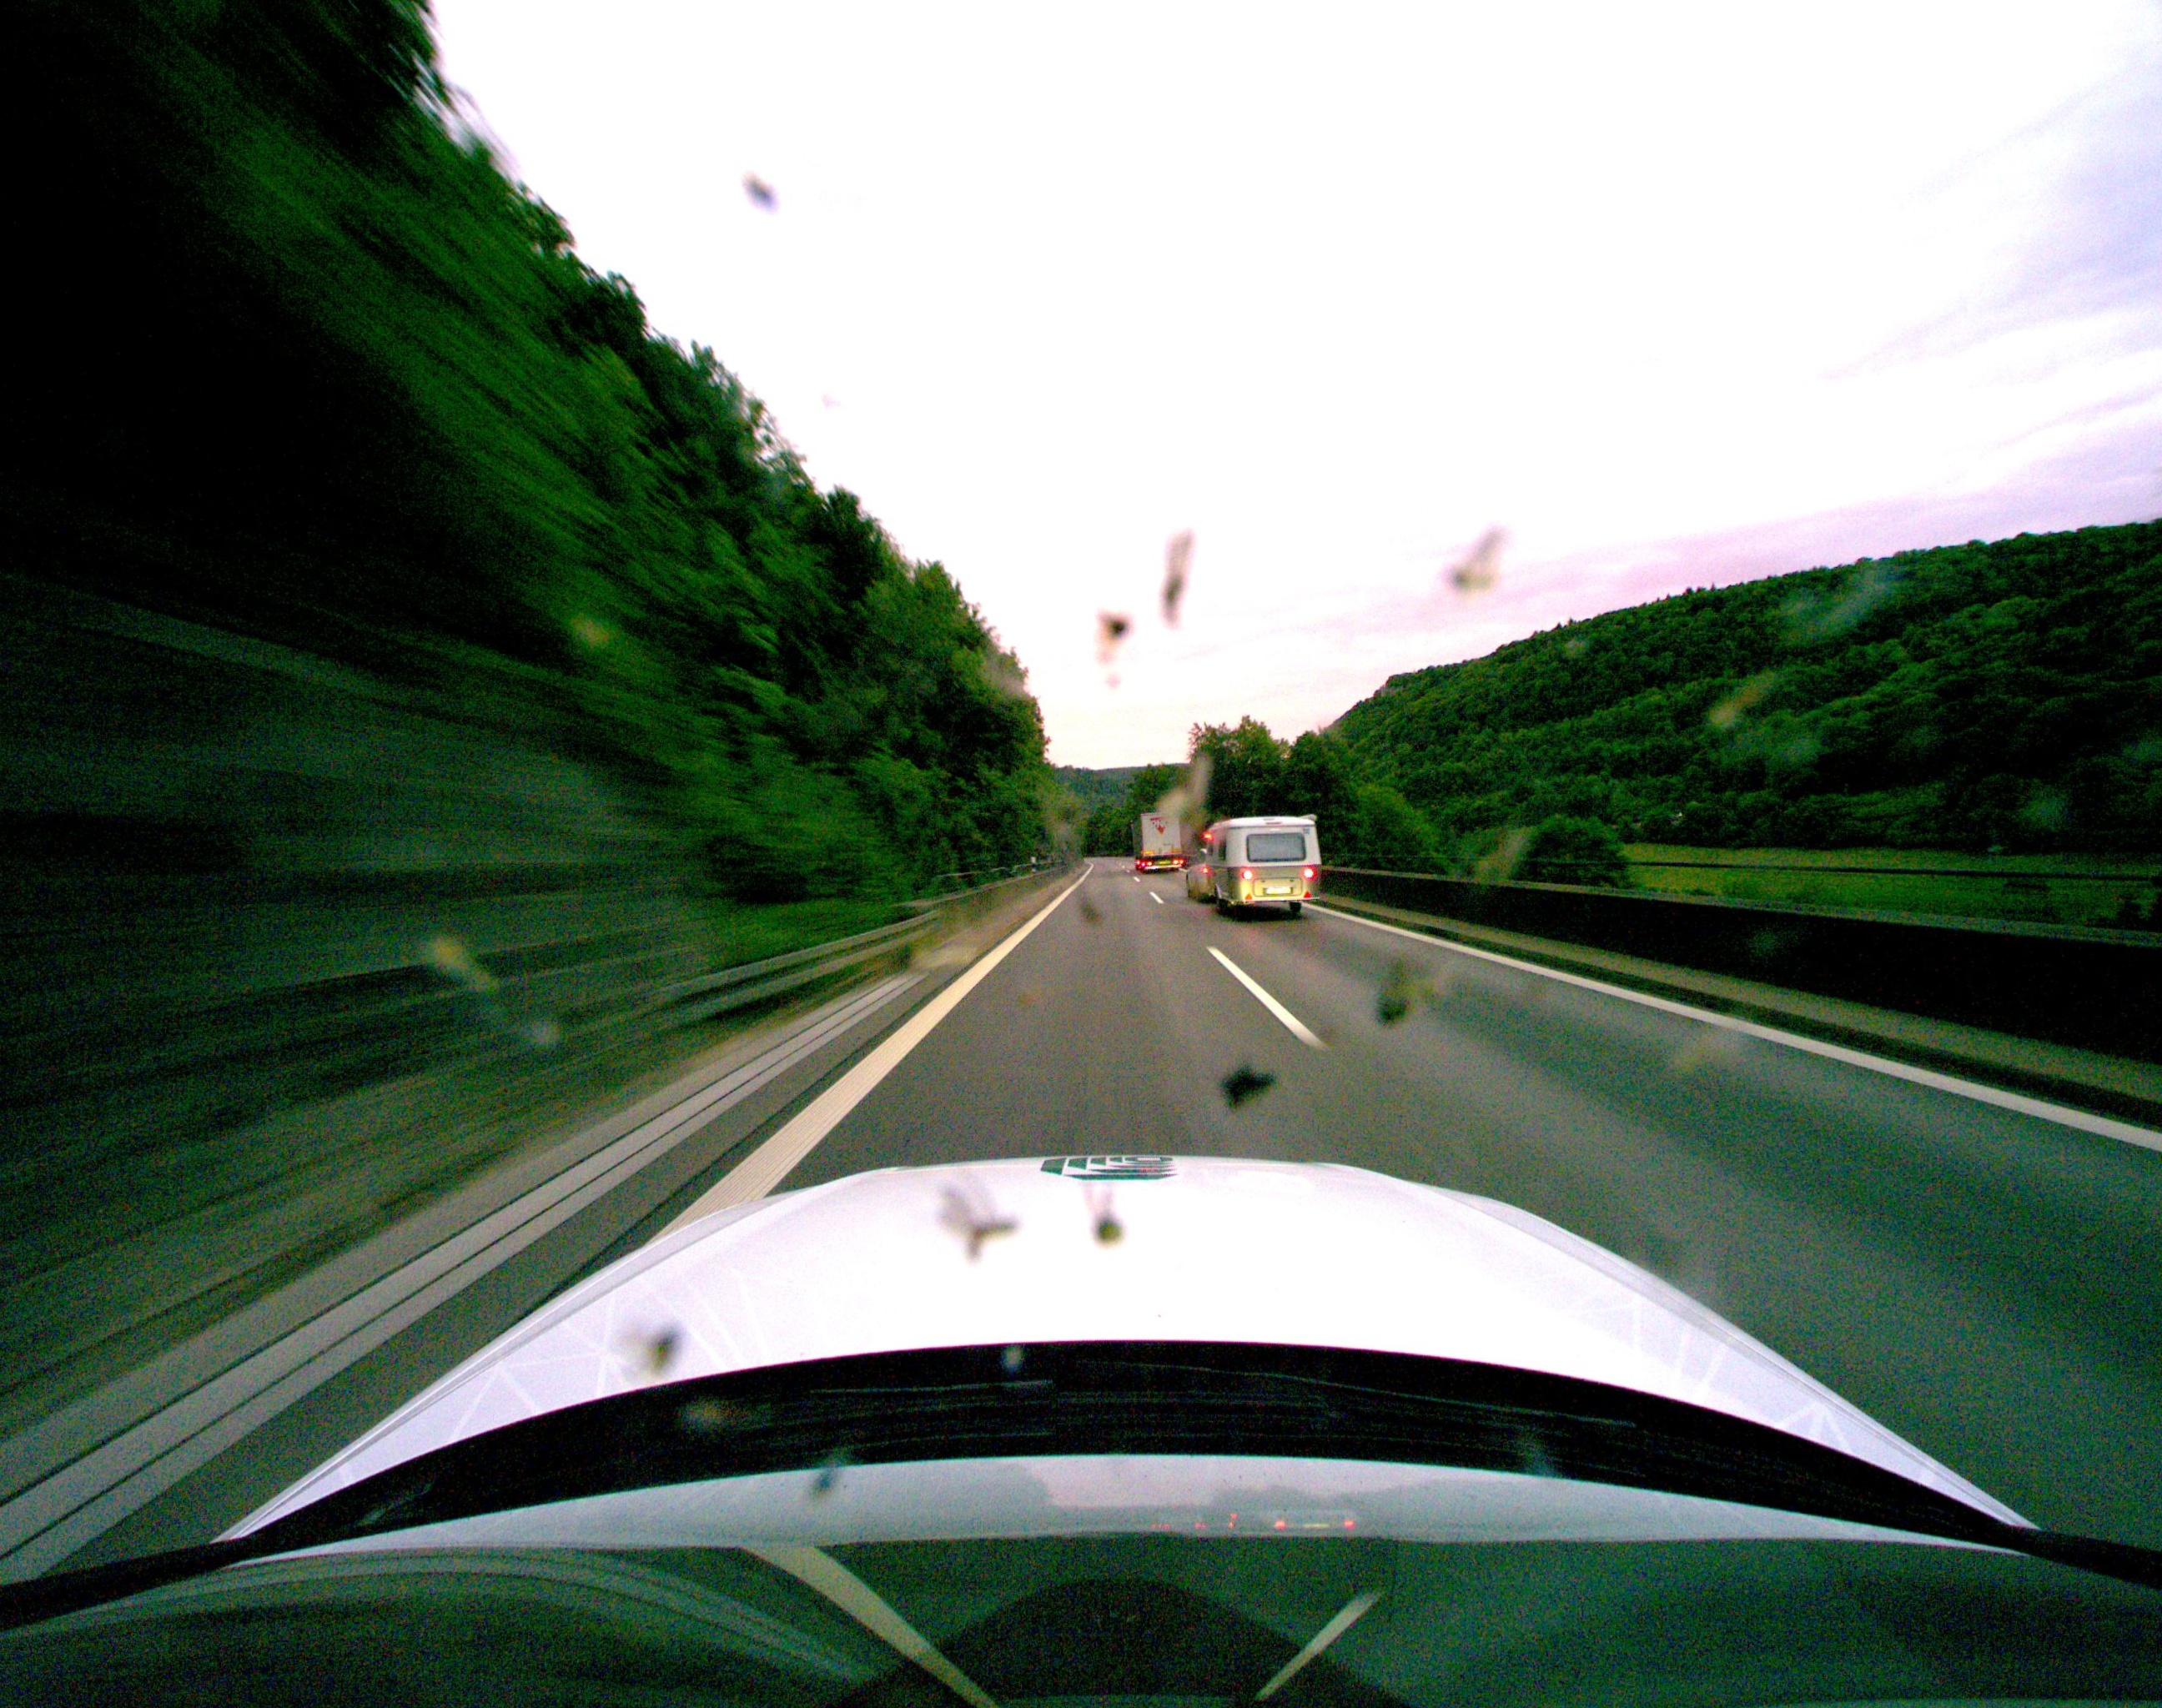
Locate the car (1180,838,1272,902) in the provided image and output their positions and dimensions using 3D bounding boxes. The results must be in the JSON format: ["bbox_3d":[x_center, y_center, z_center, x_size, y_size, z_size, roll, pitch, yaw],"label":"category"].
[{"bbox_3d":[4.357,0.454,25.180,1.986,1.614,4.866,-5,0,1],"label":"car"}]

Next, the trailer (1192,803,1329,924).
[{"bbox_3d":[4.174,0.195,20.046,2.047,2.374,5.940,-5,0,2],"label":"trailer"}]

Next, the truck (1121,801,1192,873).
[{"bbox_3d":[5.111,-1.046,59.114,3.284,4.172,16.500,-6,0,0],"label":"truck"}]
